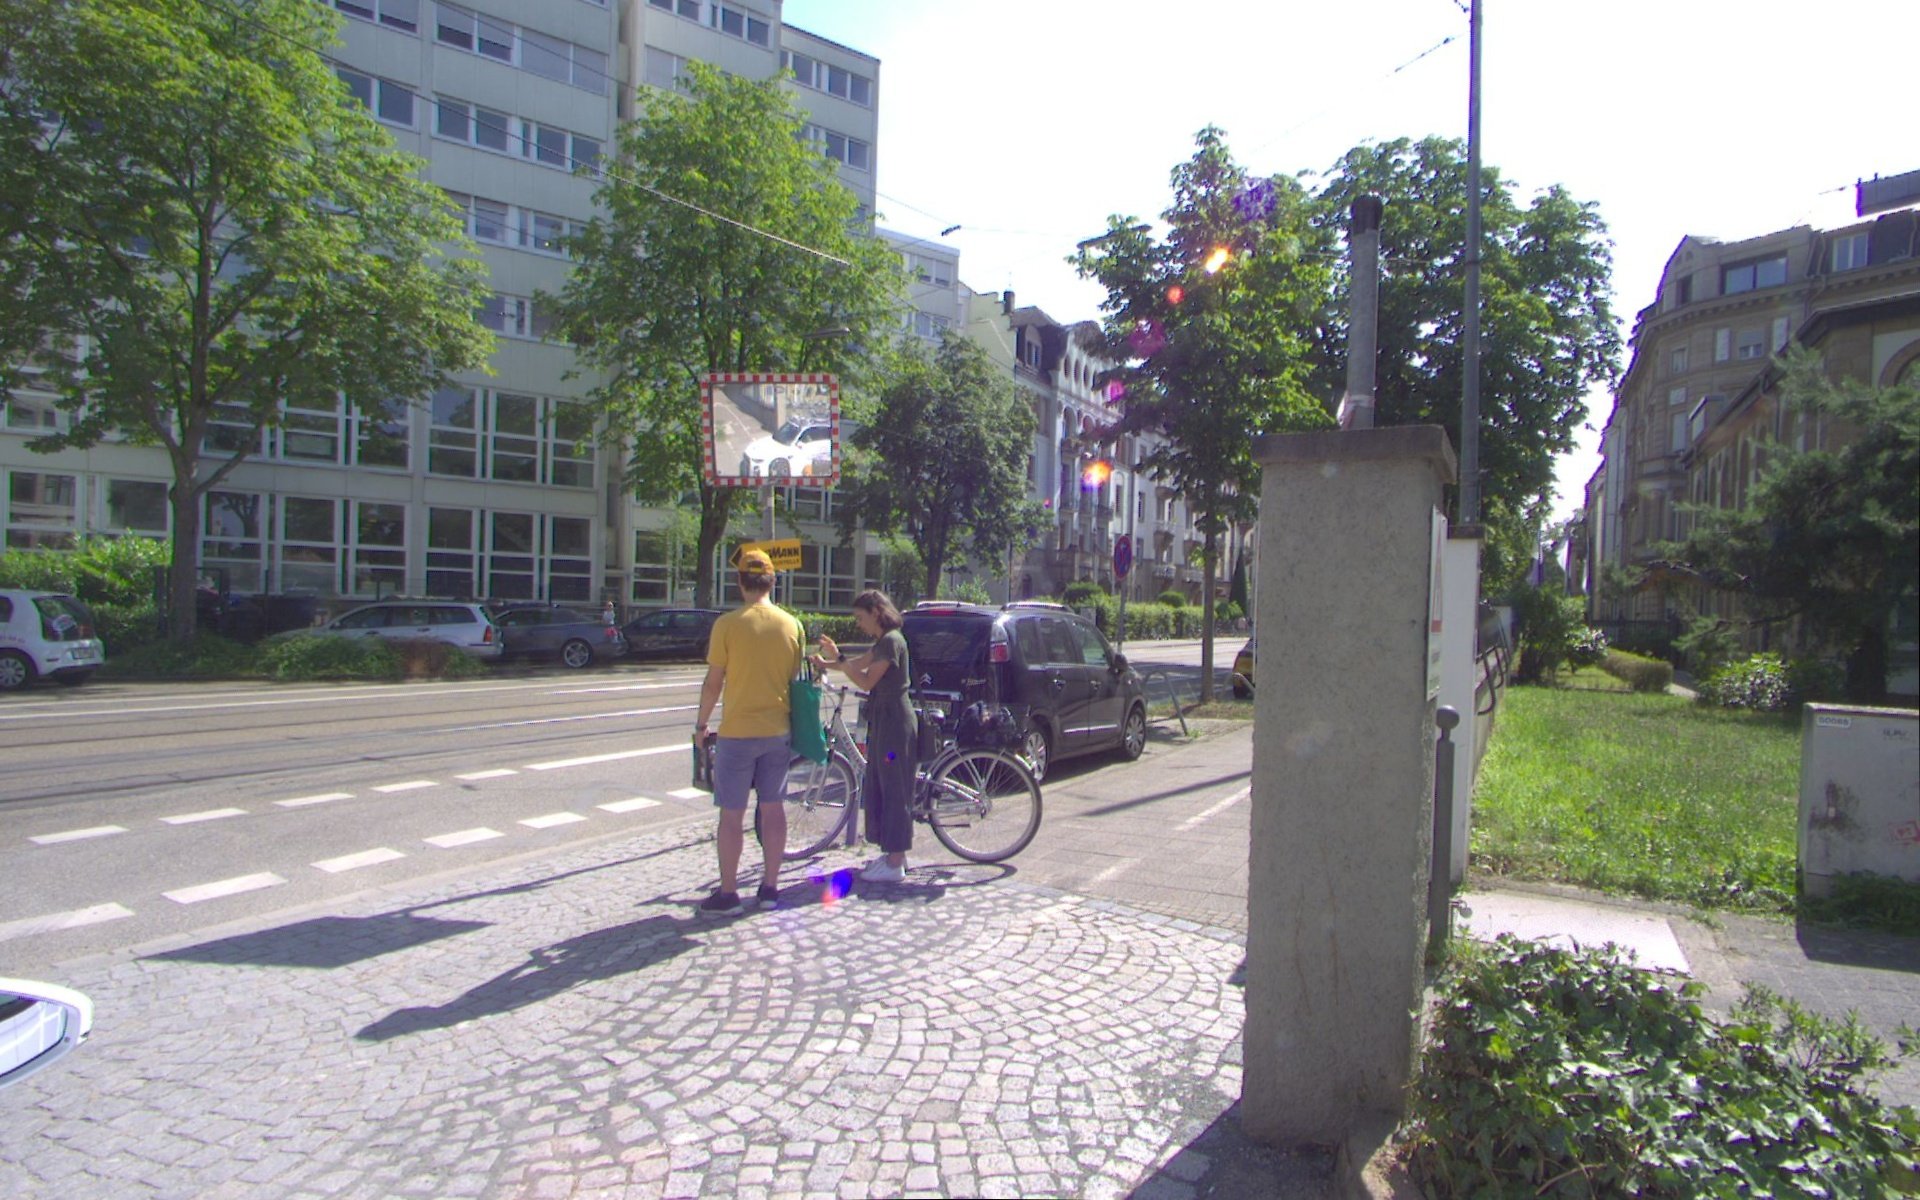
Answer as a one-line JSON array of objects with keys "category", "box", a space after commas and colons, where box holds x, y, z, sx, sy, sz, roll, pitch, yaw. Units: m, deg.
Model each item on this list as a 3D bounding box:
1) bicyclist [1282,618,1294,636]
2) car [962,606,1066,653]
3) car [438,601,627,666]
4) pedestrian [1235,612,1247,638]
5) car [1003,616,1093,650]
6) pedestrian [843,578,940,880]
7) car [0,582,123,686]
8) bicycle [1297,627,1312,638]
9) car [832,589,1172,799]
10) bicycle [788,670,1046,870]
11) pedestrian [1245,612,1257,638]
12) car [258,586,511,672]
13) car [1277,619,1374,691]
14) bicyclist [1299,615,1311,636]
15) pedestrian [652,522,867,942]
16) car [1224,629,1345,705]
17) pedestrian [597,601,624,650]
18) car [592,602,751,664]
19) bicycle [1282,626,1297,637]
[{"category": "bicyclist", "box": [28.651, 2.325, 87.397, 0.793, 1.563, 0.860, 2, 0, 33]}, {"category": "car", "box": [2.275, 1.256, 42.541, 3.935, 1.884, 1.993, 2, 0, -23]}, {"category": "car", "box": [-9.896, 0.783, 23.462, 3.875, 1.375, 1.556, 2, 0, -16]}, {"category": "pedestrian", "box": [21.757, 1.918, 77.624, 0.680, 1.958, 0.785, 2, 0, 28]}, {"category": "car", "box": [4.313, 1.622, 49.202, 3.929, 1.528, 1.997, 2, 0, -16]}, {"category": "pedestrian", "box": [-0.383, 0.710, 5.703, 0.445, 1.642, 0.422, -1, -1, 12]}, {"category": "car", "box": [-15.164, 0.470, 14.849, 3.874, 1.505, 1.610, 1, 0, -15]}, {"category": "bicycle", "box": [29.796, 2.783, 86.617, 0.670, 0.929, 2.309, 2, 0, 32]}, {"category": "car", "box": [0.643, 0.820, 10.425, 1.829, 1.706, 3.981, 1, -1, 31]}, {"category": "bicycle", "box": [-0.259, 0.993, 6.037, 1.484, 1.055, 0.363, 2, 0, 12]}, {"category": "pedestrian", "box": [22.448, 1.934, 77.291, 0.680, 1.958, 0.785, 2, 0, 28]}, {"category": "car", "box": [-11.741, 0.612, 20.742, 4.270, 1.625, 1.555, 2, -1, -19]}, {"category": "car", "box": [9.699, 1.395, 26.402, 1.828, 1.702, 3.984, 1, -1, 28]}, {"category": "bicyclist", "box": [29.765, 2.215, 86.396, 0.793, 1.825, 0.860, 2, 0, 33]}, {"category": "pedestrian", "box": [-1.032, 0.606, 5.060, 0.841, 1.889, 0.826, 1, 0, -27]}, {"category": "car", "box": [7.216, 1.392, 22.032, 1.828, 1.430, 3.984, 1, -1, 28]}, {"category": "pedestrian", "box": [-10.641, 0.782, 30.495, 0.417, 1.480, 0.620, 2, 0, 27]}, {"category": "car", "box": [-7.567, 0.867, 26.448, 3.875, 1.505, 1.556, 2, 0, -16]}, {"category": "bicycle", "box": [28.697, 2.733, 87.267, 0.670, 0.929, 2.309, 2, 0, 32]}]
